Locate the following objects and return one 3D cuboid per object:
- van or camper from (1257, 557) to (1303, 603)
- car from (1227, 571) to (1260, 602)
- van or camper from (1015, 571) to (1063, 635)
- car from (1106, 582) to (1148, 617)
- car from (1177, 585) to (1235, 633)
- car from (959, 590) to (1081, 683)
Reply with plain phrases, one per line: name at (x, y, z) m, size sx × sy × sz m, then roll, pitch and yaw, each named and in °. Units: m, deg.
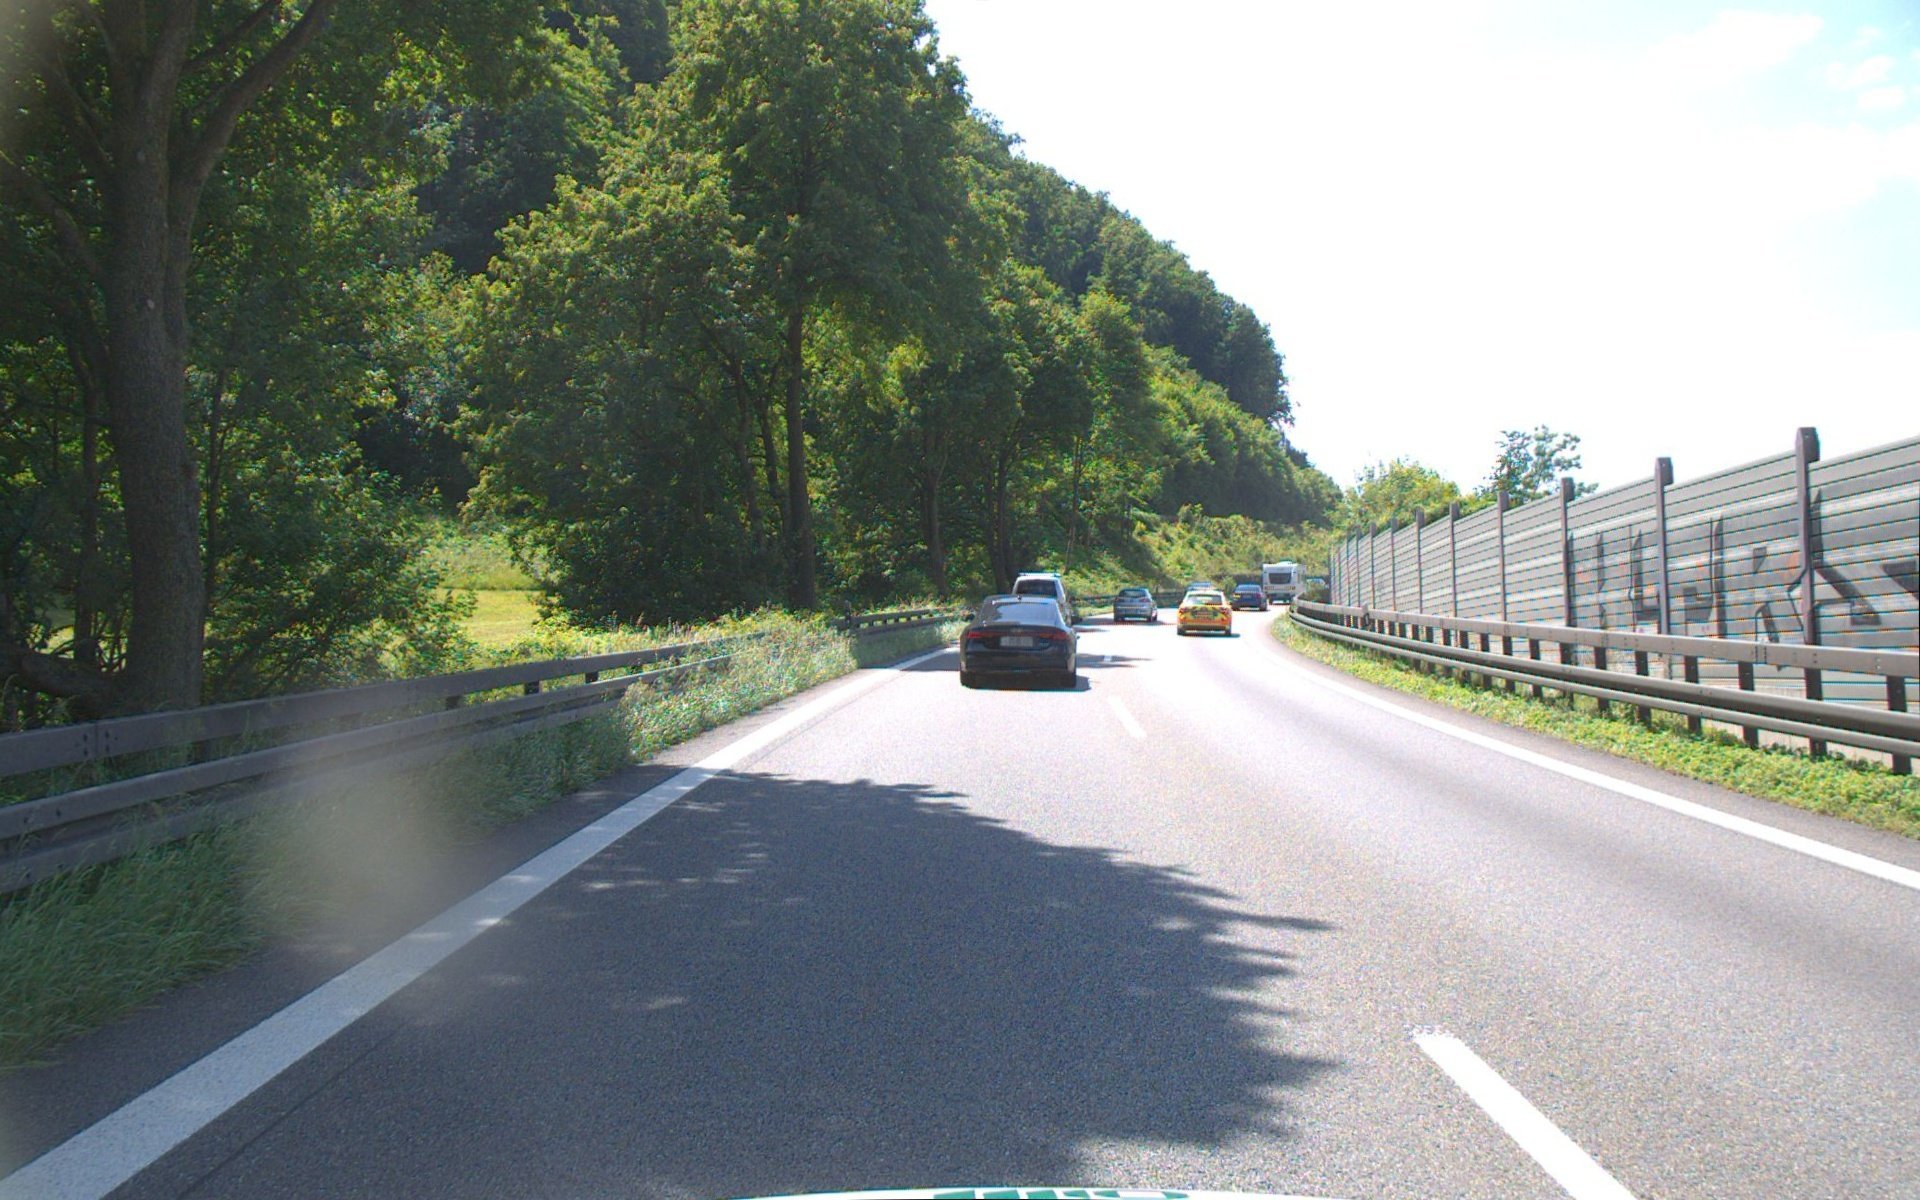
van or camper at (21.479, -1.324, 110.905) m, size 2.404 × 2.969 × 6.129 m, roll 0°, pitch 0°, yaw 17°
car at (16.083, -0.748, 93.760) m, size 1.735 × 1.665 × 4.003 m, roll 0°, pitch 0°, yaw 11°
van or camper at (2.372, 0.089, 50.192) m, size 1.363 × 1.847 × 4.001 m, roll 0°, pitch 0°, yaw 2°
car at (7.165, -0.027, 70.740) m, size 1.710 × 1.456 × 4.003 m, roll 0°, pitch 0°, yaw 6°
car at (8.198, 0.298, 55.141) m, size 1.823 × 1.514 × 4.003 m, roll 0°, pitch 0°, yaw 9°
car at (1.061, 0.573, 27.133) m, size 1.799 × 1.373 × 4.002 m, roll 1°, pitch 0°, yaw 5°
